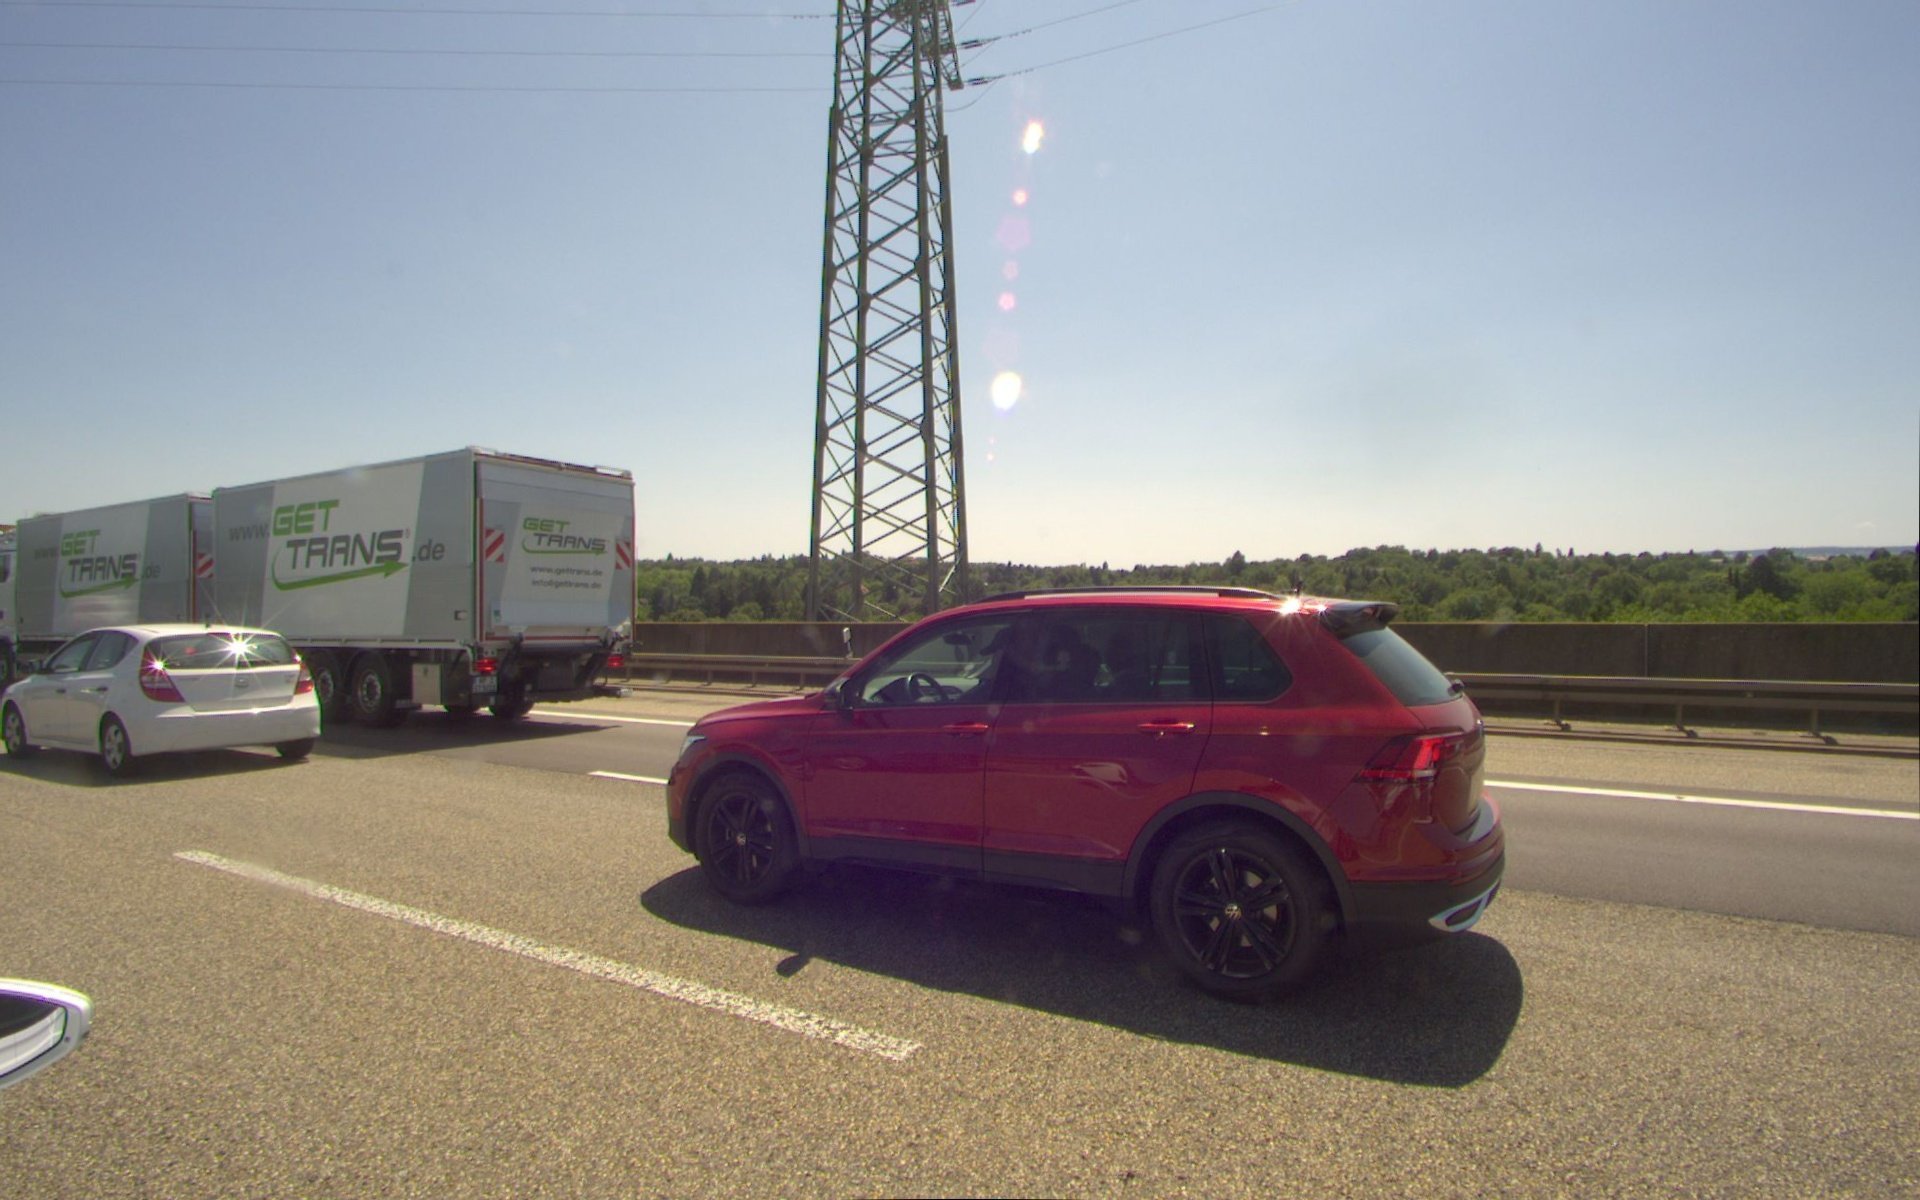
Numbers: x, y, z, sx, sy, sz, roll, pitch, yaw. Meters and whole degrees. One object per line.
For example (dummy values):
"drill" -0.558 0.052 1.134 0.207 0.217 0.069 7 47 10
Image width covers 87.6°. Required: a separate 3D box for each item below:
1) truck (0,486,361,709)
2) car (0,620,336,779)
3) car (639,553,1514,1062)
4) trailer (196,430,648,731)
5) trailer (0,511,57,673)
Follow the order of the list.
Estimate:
"truck" -16.611 0.030 20.674 10.851 3.695 2.652 -1 0 32
"car" -8.986 0.962 11.178 4.232 1.474 1.785 -1 -1 32
"car" 0.448 0.726 5.177 4.163 1.683 1.772 -1 -1 32
"trailer" -8.649 -0.182 15.698 7.899 3.748 2.693 -1 0 32
"trailer" -29.344 -0.142 28.706 8.883 4.293 2.860 -1 -2 32
